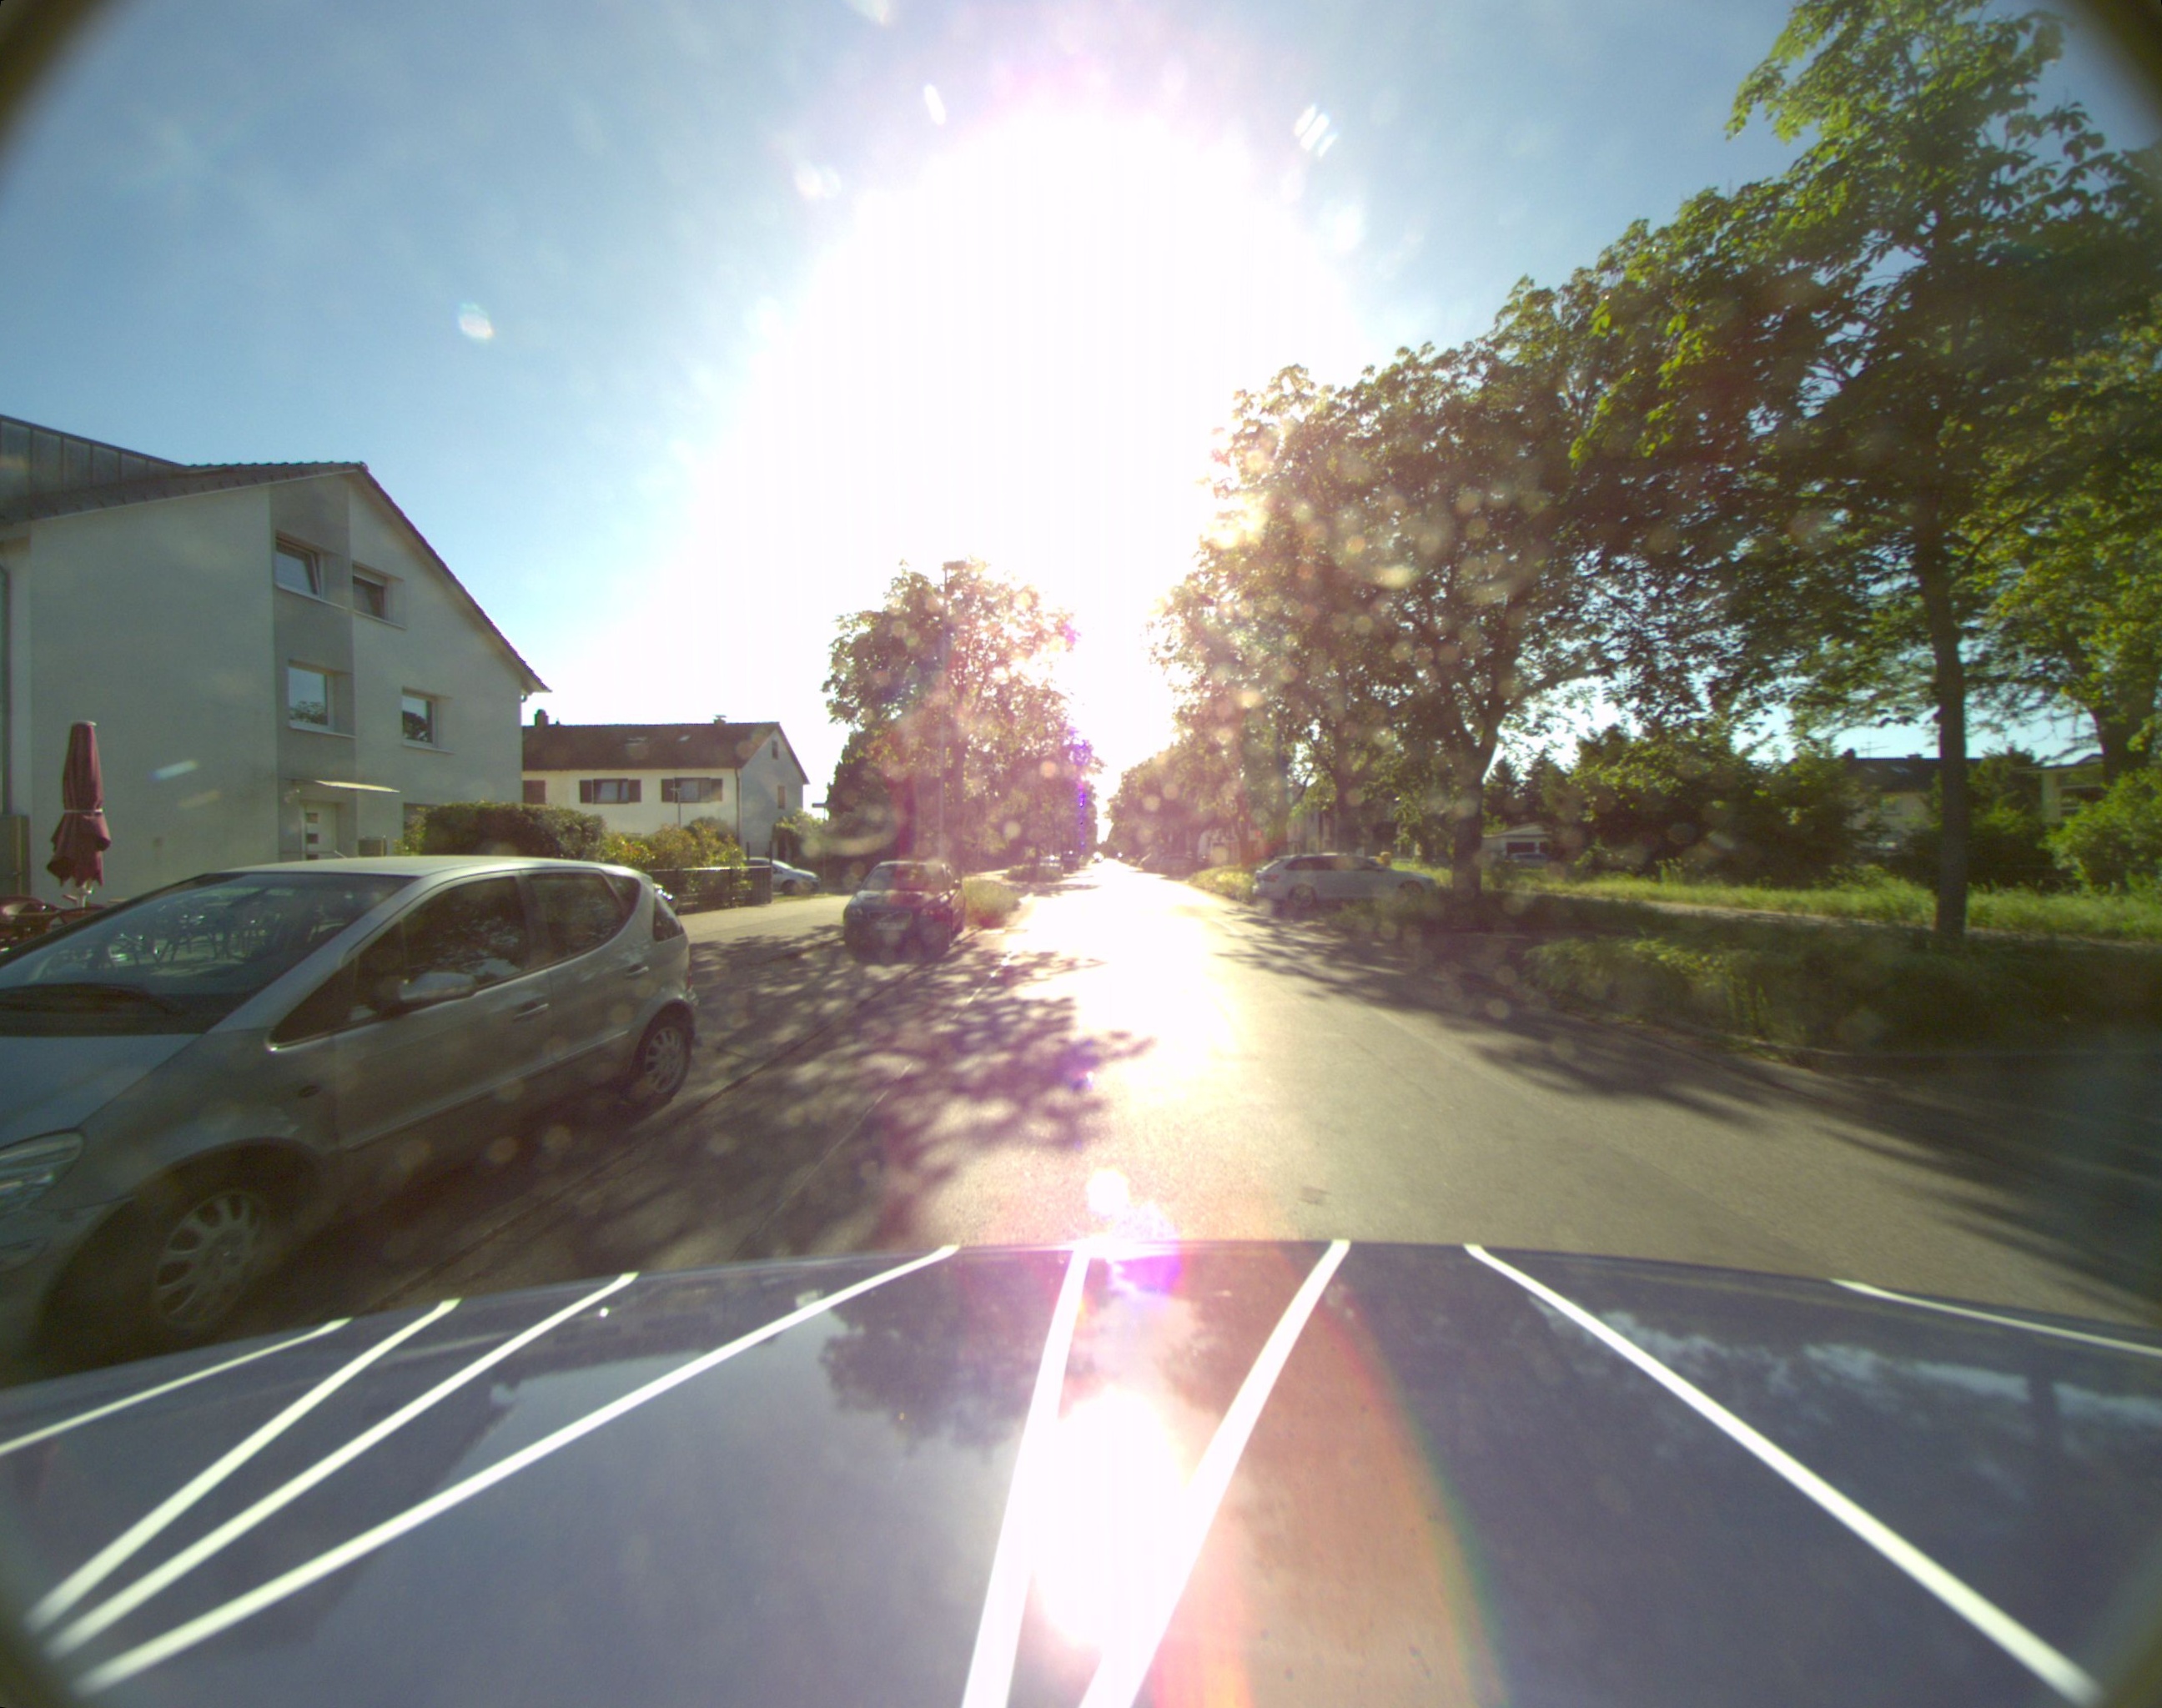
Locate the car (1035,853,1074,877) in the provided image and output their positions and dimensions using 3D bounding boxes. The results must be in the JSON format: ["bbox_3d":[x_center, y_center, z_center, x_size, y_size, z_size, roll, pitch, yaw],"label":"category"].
[{"bbox_3d":[-1.772,0.719,52.536,1.997,1.502,4.002,0,2,8],"label":"car"}]

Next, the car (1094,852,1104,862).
[{"bbox_3d":[3.031,0.518,126.652,1.539,1.582,3.459,-4,1,4],"label":"car"}]

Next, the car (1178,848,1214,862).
[{"bbox_3d":[14.077,0.073,93.138,3.998,1.533,1.869,-2,1,-4],"label":"car"}]

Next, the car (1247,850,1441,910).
[{"bbox_3d":[7.118,0.686,21.001,4.682,1.495,2.000,-1,1,3],"label":"car"}]

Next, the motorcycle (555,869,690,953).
[{"bbox_3d":[-7.616,0.895,12.789,0.820,1.220,2.351,1,1,1],"label":"motorcycle"}]

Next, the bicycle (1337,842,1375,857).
[{"bbox_3d":[22.343,-0.382,61.803,0.706,1.169,4.051,-1,0,-15],"label":"bicycle"}]

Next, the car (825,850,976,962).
[{"bbox_3d":[-3.157,0.813,14.252,1.999,1.613,4.379,-4,1,-4],"label":"car"}]

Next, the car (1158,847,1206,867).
[{"bbox_3d":[8.905,0.236,67.237,3.997,1.651,1.967,-1,0,0],"label":"car"}]

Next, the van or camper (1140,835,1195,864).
[{"bbox_3d":[9.550,-0.554,83.945,5.789,2.789,2.000,-4,1,3],"label":"van or camper"}]

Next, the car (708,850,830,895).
[{"bbox_3d":[-11.953,0.697,29.329,3.999,1.630,1.775,-1,1,-5],"label":"car"}]

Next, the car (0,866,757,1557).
[{"bbox_3d":[-3.529,0.994,3.897,1.614,1.613,4.381,-4,1,2],"label":"car"}]

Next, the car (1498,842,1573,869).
[{"bbox_3d":[31.611,0.087,52.965,3.996,1.810,2.000,-1,1,1],"label":"car"}]

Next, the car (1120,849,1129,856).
[{"bbox_3d":[10.429,-0.292,181.602,1.998,1.530,3.695,-4,1,4],"label":"car"}]

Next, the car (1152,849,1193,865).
[{"bbox_3d":[9.726,0.314,81.084,3.997,1.450,2.000,-4,1,0],"label":"car"}]

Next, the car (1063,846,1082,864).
[{"bbox_3d":[-1.009,0.117,92.018,1.998,2.002,5.195,-4,1,0],"label":"car"}]

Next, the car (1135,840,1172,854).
[{"bbox_3d":[10.528,-1.004,110.599,5.075,1.718,1.999,-4,1,-2],"label":"car"}]
